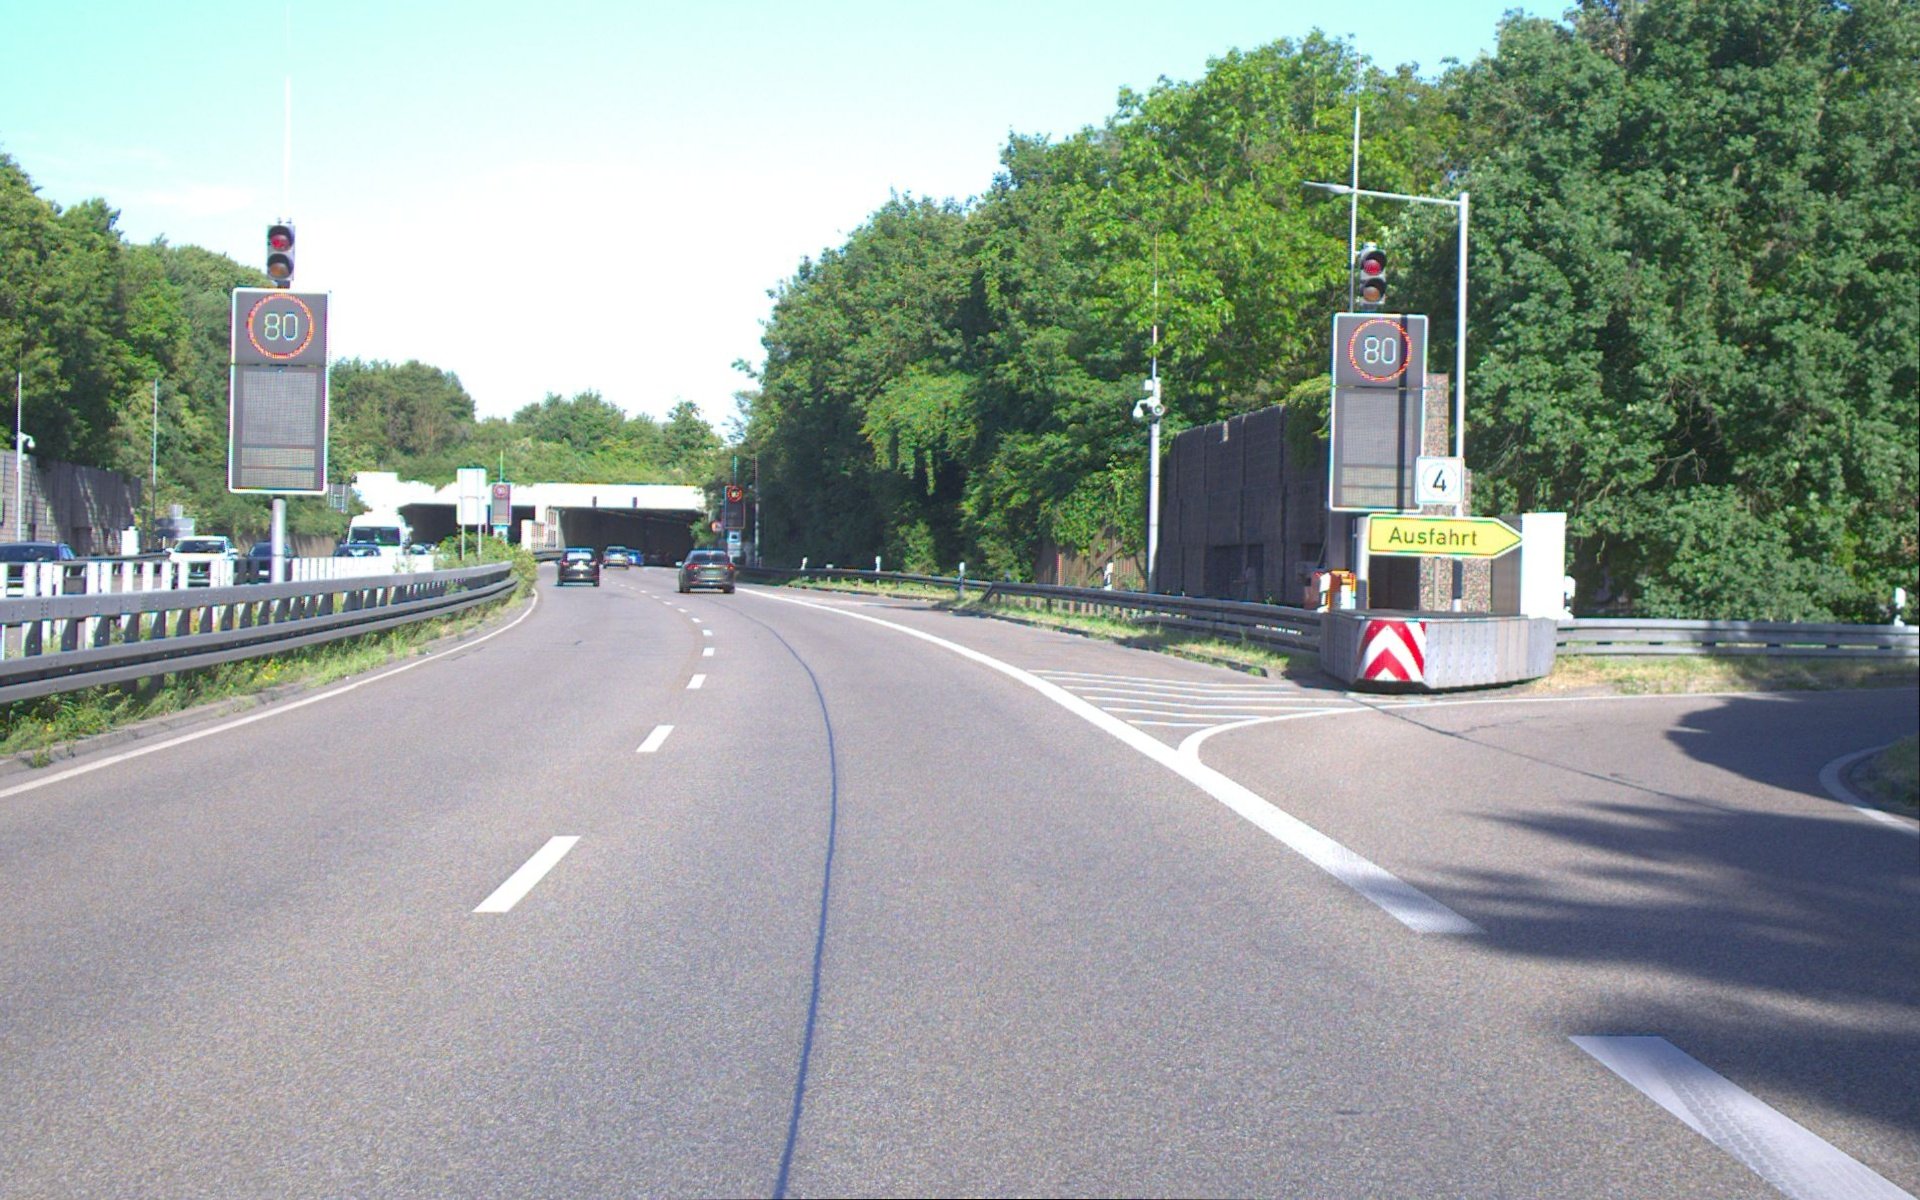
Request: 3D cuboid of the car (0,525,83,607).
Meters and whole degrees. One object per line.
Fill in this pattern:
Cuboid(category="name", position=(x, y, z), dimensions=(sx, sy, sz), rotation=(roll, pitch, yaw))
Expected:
Cuboid(category="car", position=(-19.211, -0.726, 69.522), dimensions=(1.993, 1.475, 4.535), rotation=(3, 1, -4))

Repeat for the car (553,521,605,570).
Cuboid(category="car", position=(-15.803, -2.283, 142.406), dimensions=(1.993, 1.919, 4.001), rotation=(2, 1, -8))

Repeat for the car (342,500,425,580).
Cuboid(category="car", position=(-20.532, -2.178, 122.629), dimensions=(2.121, 2.674, 6.589), rotation=(3, 1, -4))

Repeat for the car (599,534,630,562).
Cuboid(category="car", position=(-24.992, -3.799, 248.853), dimensions=(1.993, 1.919, 4.001), rotation=(2, 1, -8))

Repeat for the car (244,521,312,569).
Cuboid(category="car", position=(-25.246, -2.063, 127.354), dimensions=(1.901, 1.614, 4.697), rotation=(3, 1, -5))

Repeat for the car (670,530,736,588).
Cuboid(category="car", position=(-8.959, -1.441, 119.689), dimensions=(1.993, 1.919, 4.001), rotation=(2, 1, -8))

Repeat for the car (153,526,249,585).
Cuboid(category="car", position=(-22.416, -1.335, 101.630), dimensions=(1.993, 1.590, 4.622), rotation=(3, 1, -4))
